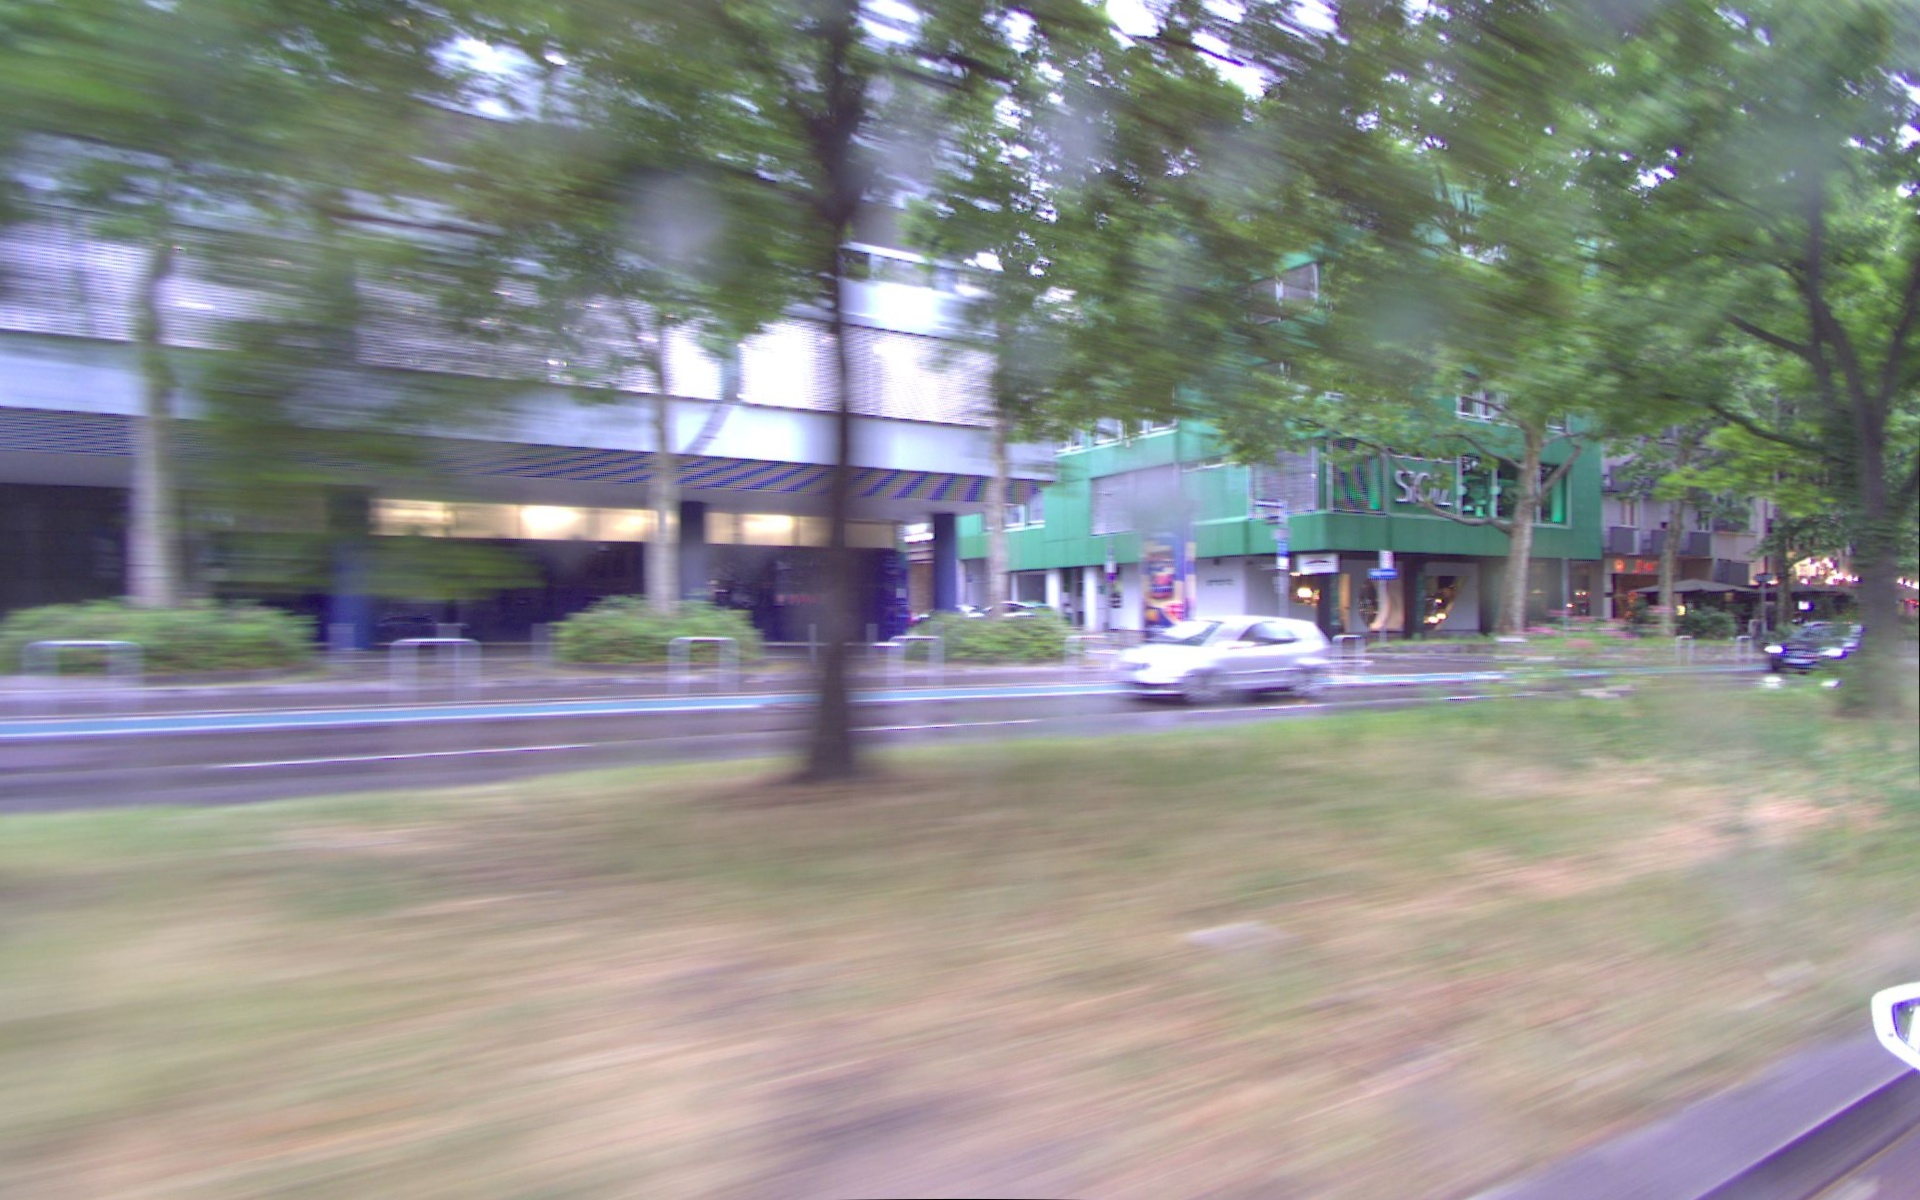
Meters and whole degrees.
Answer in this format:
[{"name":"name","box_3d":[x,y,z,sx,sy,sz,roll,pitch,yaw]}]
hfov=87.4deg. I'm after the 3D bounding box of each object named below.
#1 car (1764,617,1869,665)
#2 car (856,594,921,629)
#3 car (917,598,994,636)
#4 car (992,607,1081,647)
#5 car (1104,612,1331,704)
[{"name":"car","box_3d":[25.105,1.182,29.422,3.613,1.275,1.675,2,1,-39]},{"name":"car","box_3d":[-3.446,0.535,47.914,1.678,1.538,3.603,2,1,-30]},{"name":"car","box_3d":[-0.249,0.705,42.775,1.678,1.488,3.603,2,1,-30]},{"name":"car","box_3d":[2.933,1.032,39.019,1.665,1.396,3.479,2,1,-32]},{"name":"car","box_3d":[4.510,0.970,17.495,3.767,1.454,1.641,2,-1,-30]}]
